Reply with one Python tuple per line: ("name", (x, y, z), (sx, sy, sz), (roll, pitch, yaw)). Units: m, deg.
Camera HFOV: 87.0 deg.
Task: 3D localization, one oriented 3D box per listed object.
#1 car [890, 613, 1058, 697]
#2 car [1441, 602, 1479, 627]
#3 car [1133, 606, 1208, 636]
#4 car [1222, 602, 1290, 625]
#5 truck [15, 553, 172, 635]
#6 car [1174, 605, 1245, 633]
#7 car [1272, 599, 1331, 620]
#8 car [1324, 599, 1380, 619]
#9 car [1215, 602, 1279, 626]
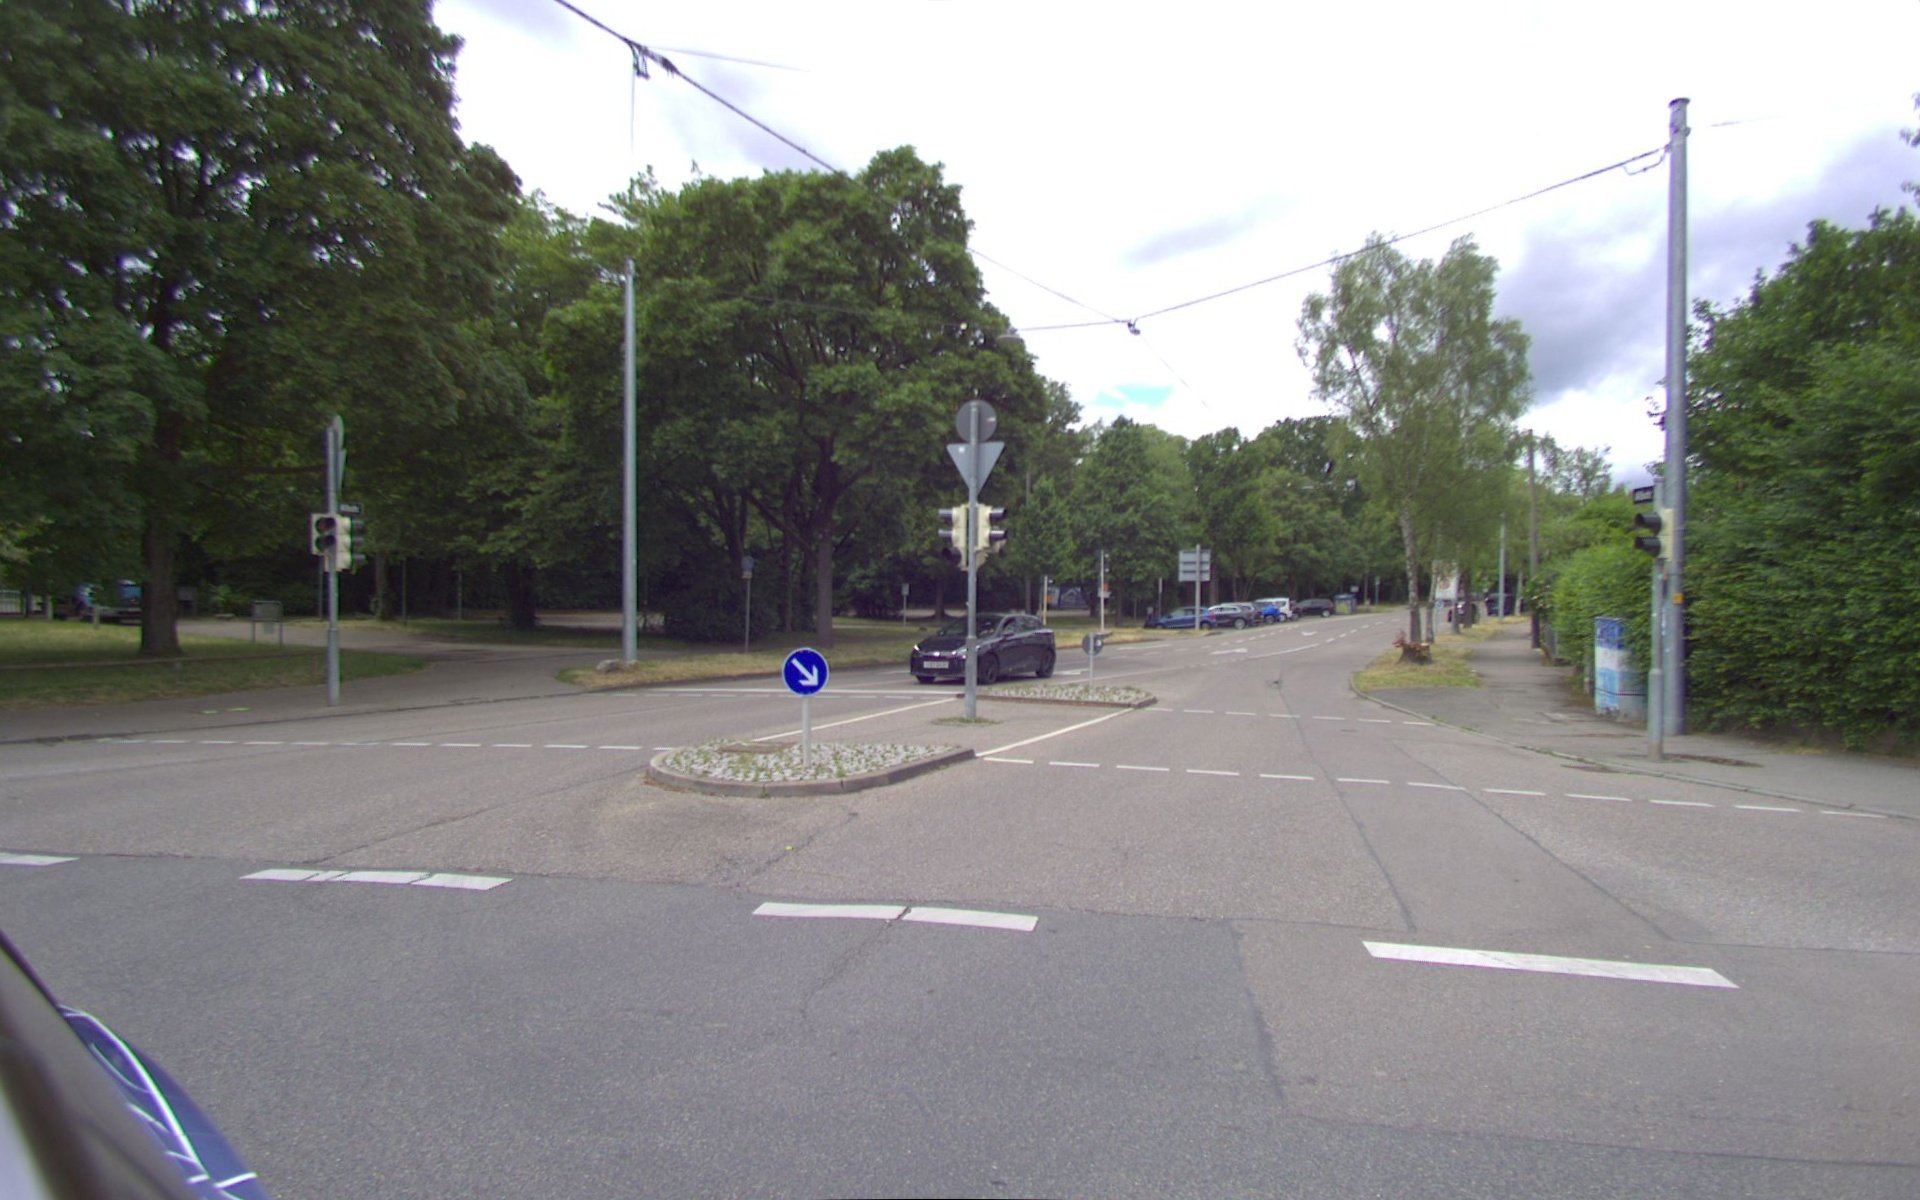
("car", (0.401, 1.121, 22.466), (1.993, 1.630, 3.957), (0, 0, 32))
("car", (38.042, 1.086, 77.009), (1.971, 1.620, 4.368), (2, 3, 34))
("car", (11.468, 1.137, 55.289), (3.958, 1.497, 1.912), (1, 1, 11))
("car", (20.674, 0.928, 70.843), (4.369, 1.621, 1.994), (0, 0, 9))
("truck", (-32.890, -0.196, 38.319), (7.409, 2.869, 2.455), (0, 0, 33))
("car", (14.662, 1.098, 59.561), (3.962, 1.497, 1.910), (1, 0, 14))
("car", (27.010, 0.744, 80.220), (4.381, 1.621, 1.989), (0, 0, 18))
("car", (33.398, 0.777, 86.286), (4.390, 1.621, 1.985), (0, 0, 23))
("car", (18.808, 0.910, 66.457), (3.962, 1.497, 1.910), (1, 0, 14))
